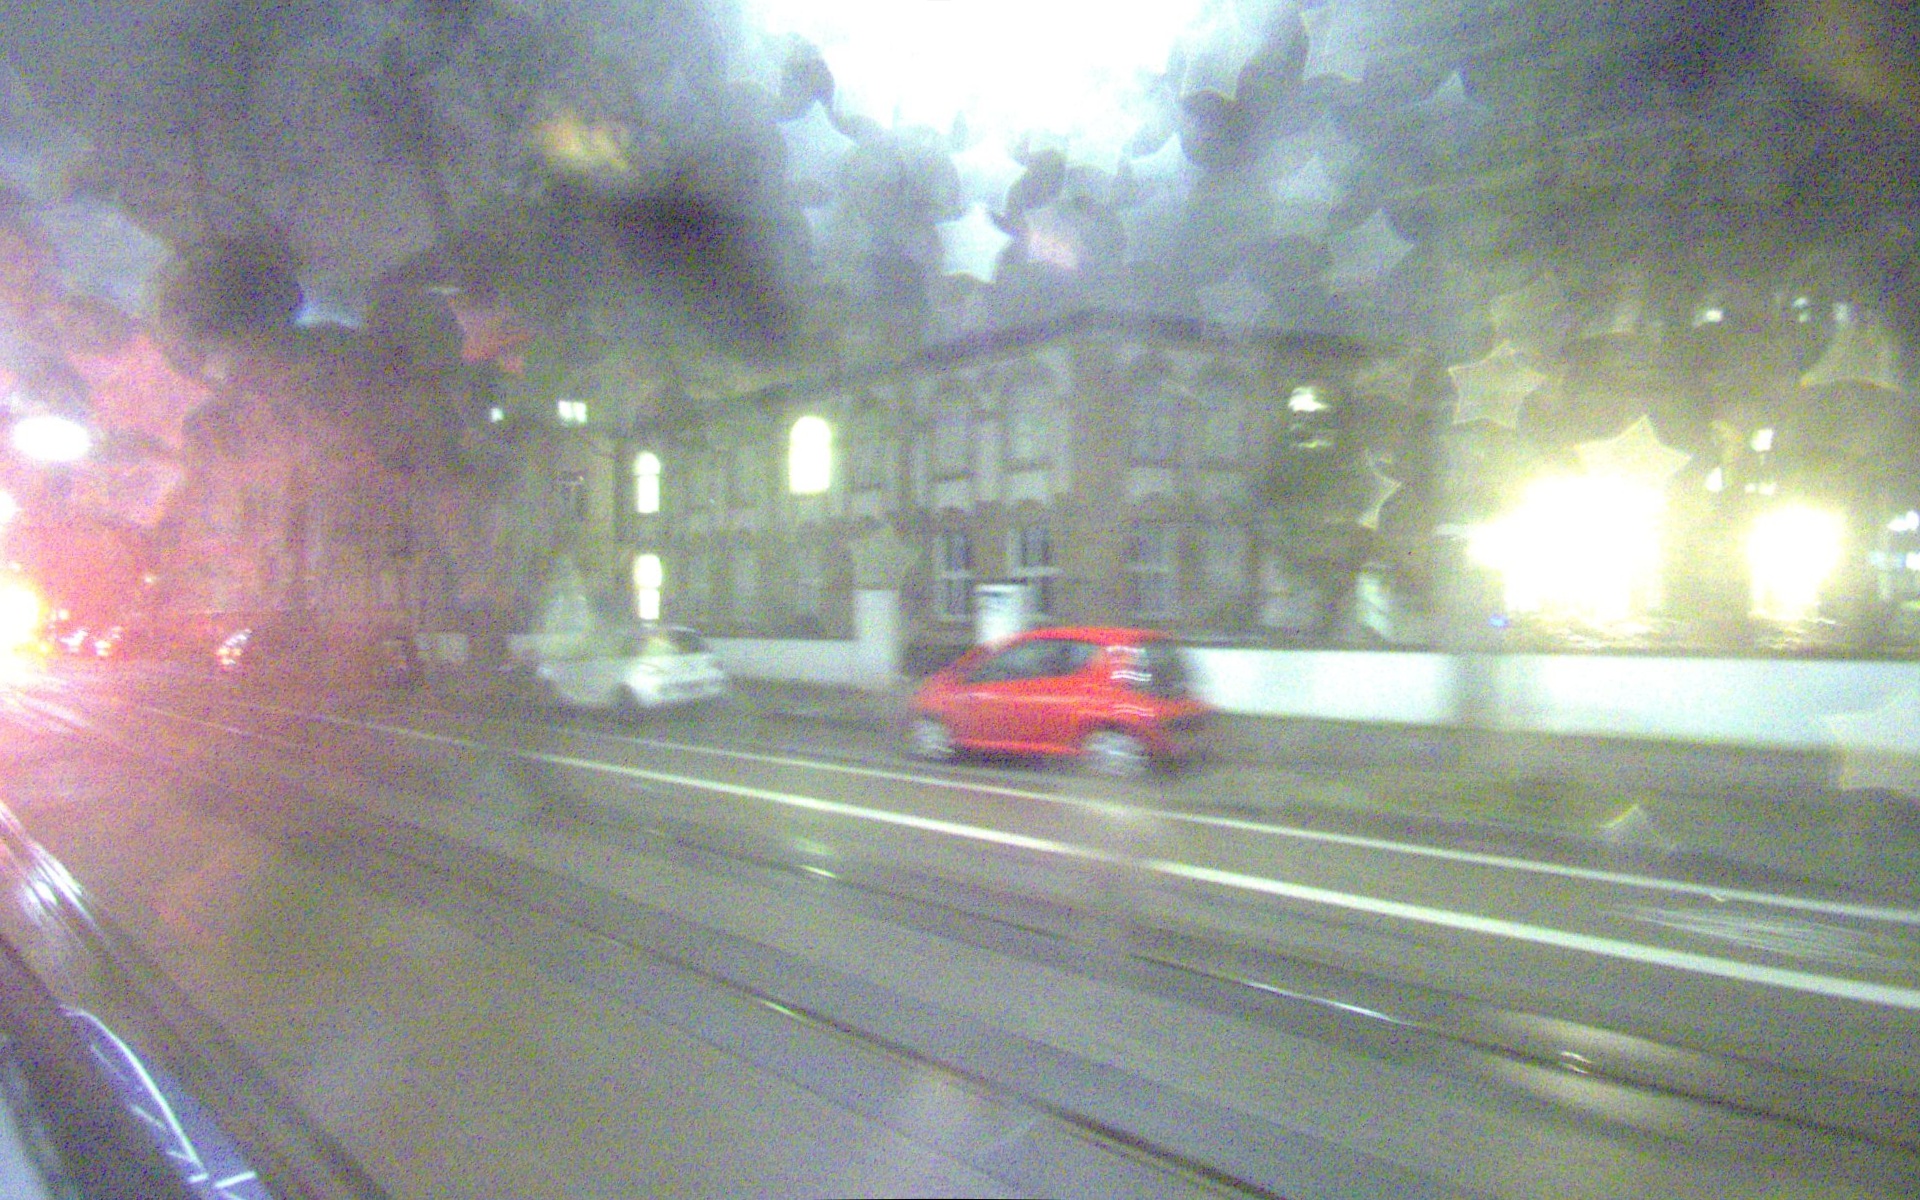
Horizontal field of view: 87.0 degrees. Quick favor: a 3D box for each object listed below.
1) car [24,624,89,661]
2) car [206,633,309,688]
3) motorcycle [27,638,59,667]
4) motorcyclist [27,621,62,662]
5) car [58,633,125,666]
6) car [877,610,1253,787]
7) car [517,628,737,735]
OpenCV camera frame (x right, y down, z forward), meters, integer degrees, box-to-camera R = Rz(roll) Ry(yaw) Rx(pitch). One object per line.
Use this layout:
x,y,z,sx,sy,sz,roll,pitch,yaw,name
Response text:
-50.569,2.381,56.608,5.305,1.839,1.973,-3,1,41,car
-21.210,1.780,30.499,4.000,1.397,1.650,0,2,42,car
-41.077,2.349,45.352,0.806,1.240,2.005,6,-5,-37,motorcycle
-41.048,1.860,45.389,0.906,1.753,1.138,6,-5,-37,motorcyclist
-41.977,2.343,48.905,4.137,1.417,1.748,-1,1,40,car
1.016,0.968,10.710,3.615,1.518,1.625,-4,-2,39,car
-5.425,1.211,16.293,3.805,1.439,1.593,-1,1,40,car
